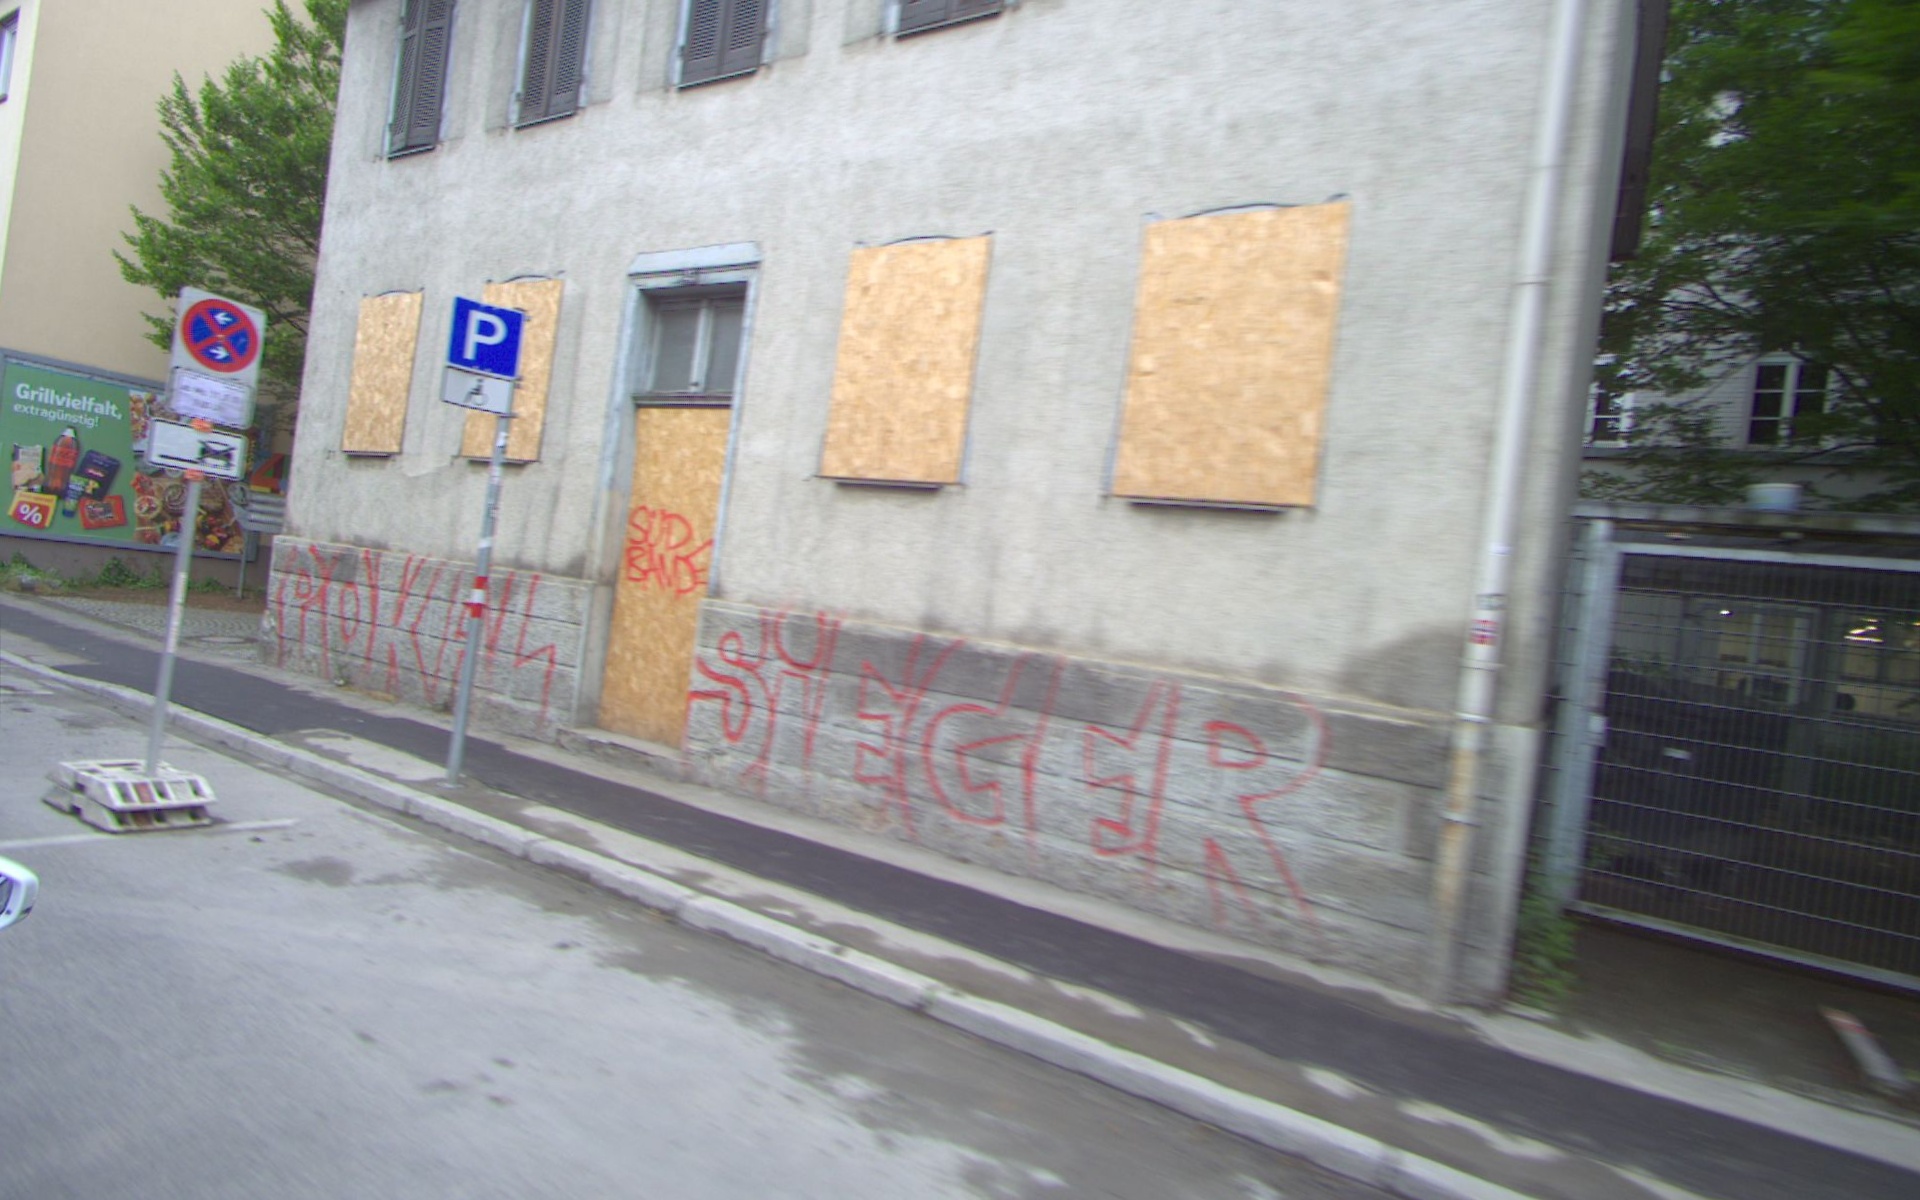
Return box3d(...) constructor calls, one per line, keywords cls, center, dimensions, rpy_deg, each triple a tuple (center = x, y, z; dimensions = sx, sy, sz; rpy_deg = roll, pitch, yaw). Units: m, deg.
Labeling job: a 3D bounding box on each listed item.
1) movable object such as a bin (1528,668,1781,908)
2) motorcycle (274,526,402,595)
box3d(cls="movable object such as a bin", center=(4.861, 1.282, 7.061), dimensions=(1.085, 1.421, 1.016), rpy_deg=(8, -2, -32))
box3d(cls="motorcycle", center=(-11.881, -0.780, 19.294), dimensions=(0.663, 1.220, 1.990), rpy_deg=(6, 7, 29))
